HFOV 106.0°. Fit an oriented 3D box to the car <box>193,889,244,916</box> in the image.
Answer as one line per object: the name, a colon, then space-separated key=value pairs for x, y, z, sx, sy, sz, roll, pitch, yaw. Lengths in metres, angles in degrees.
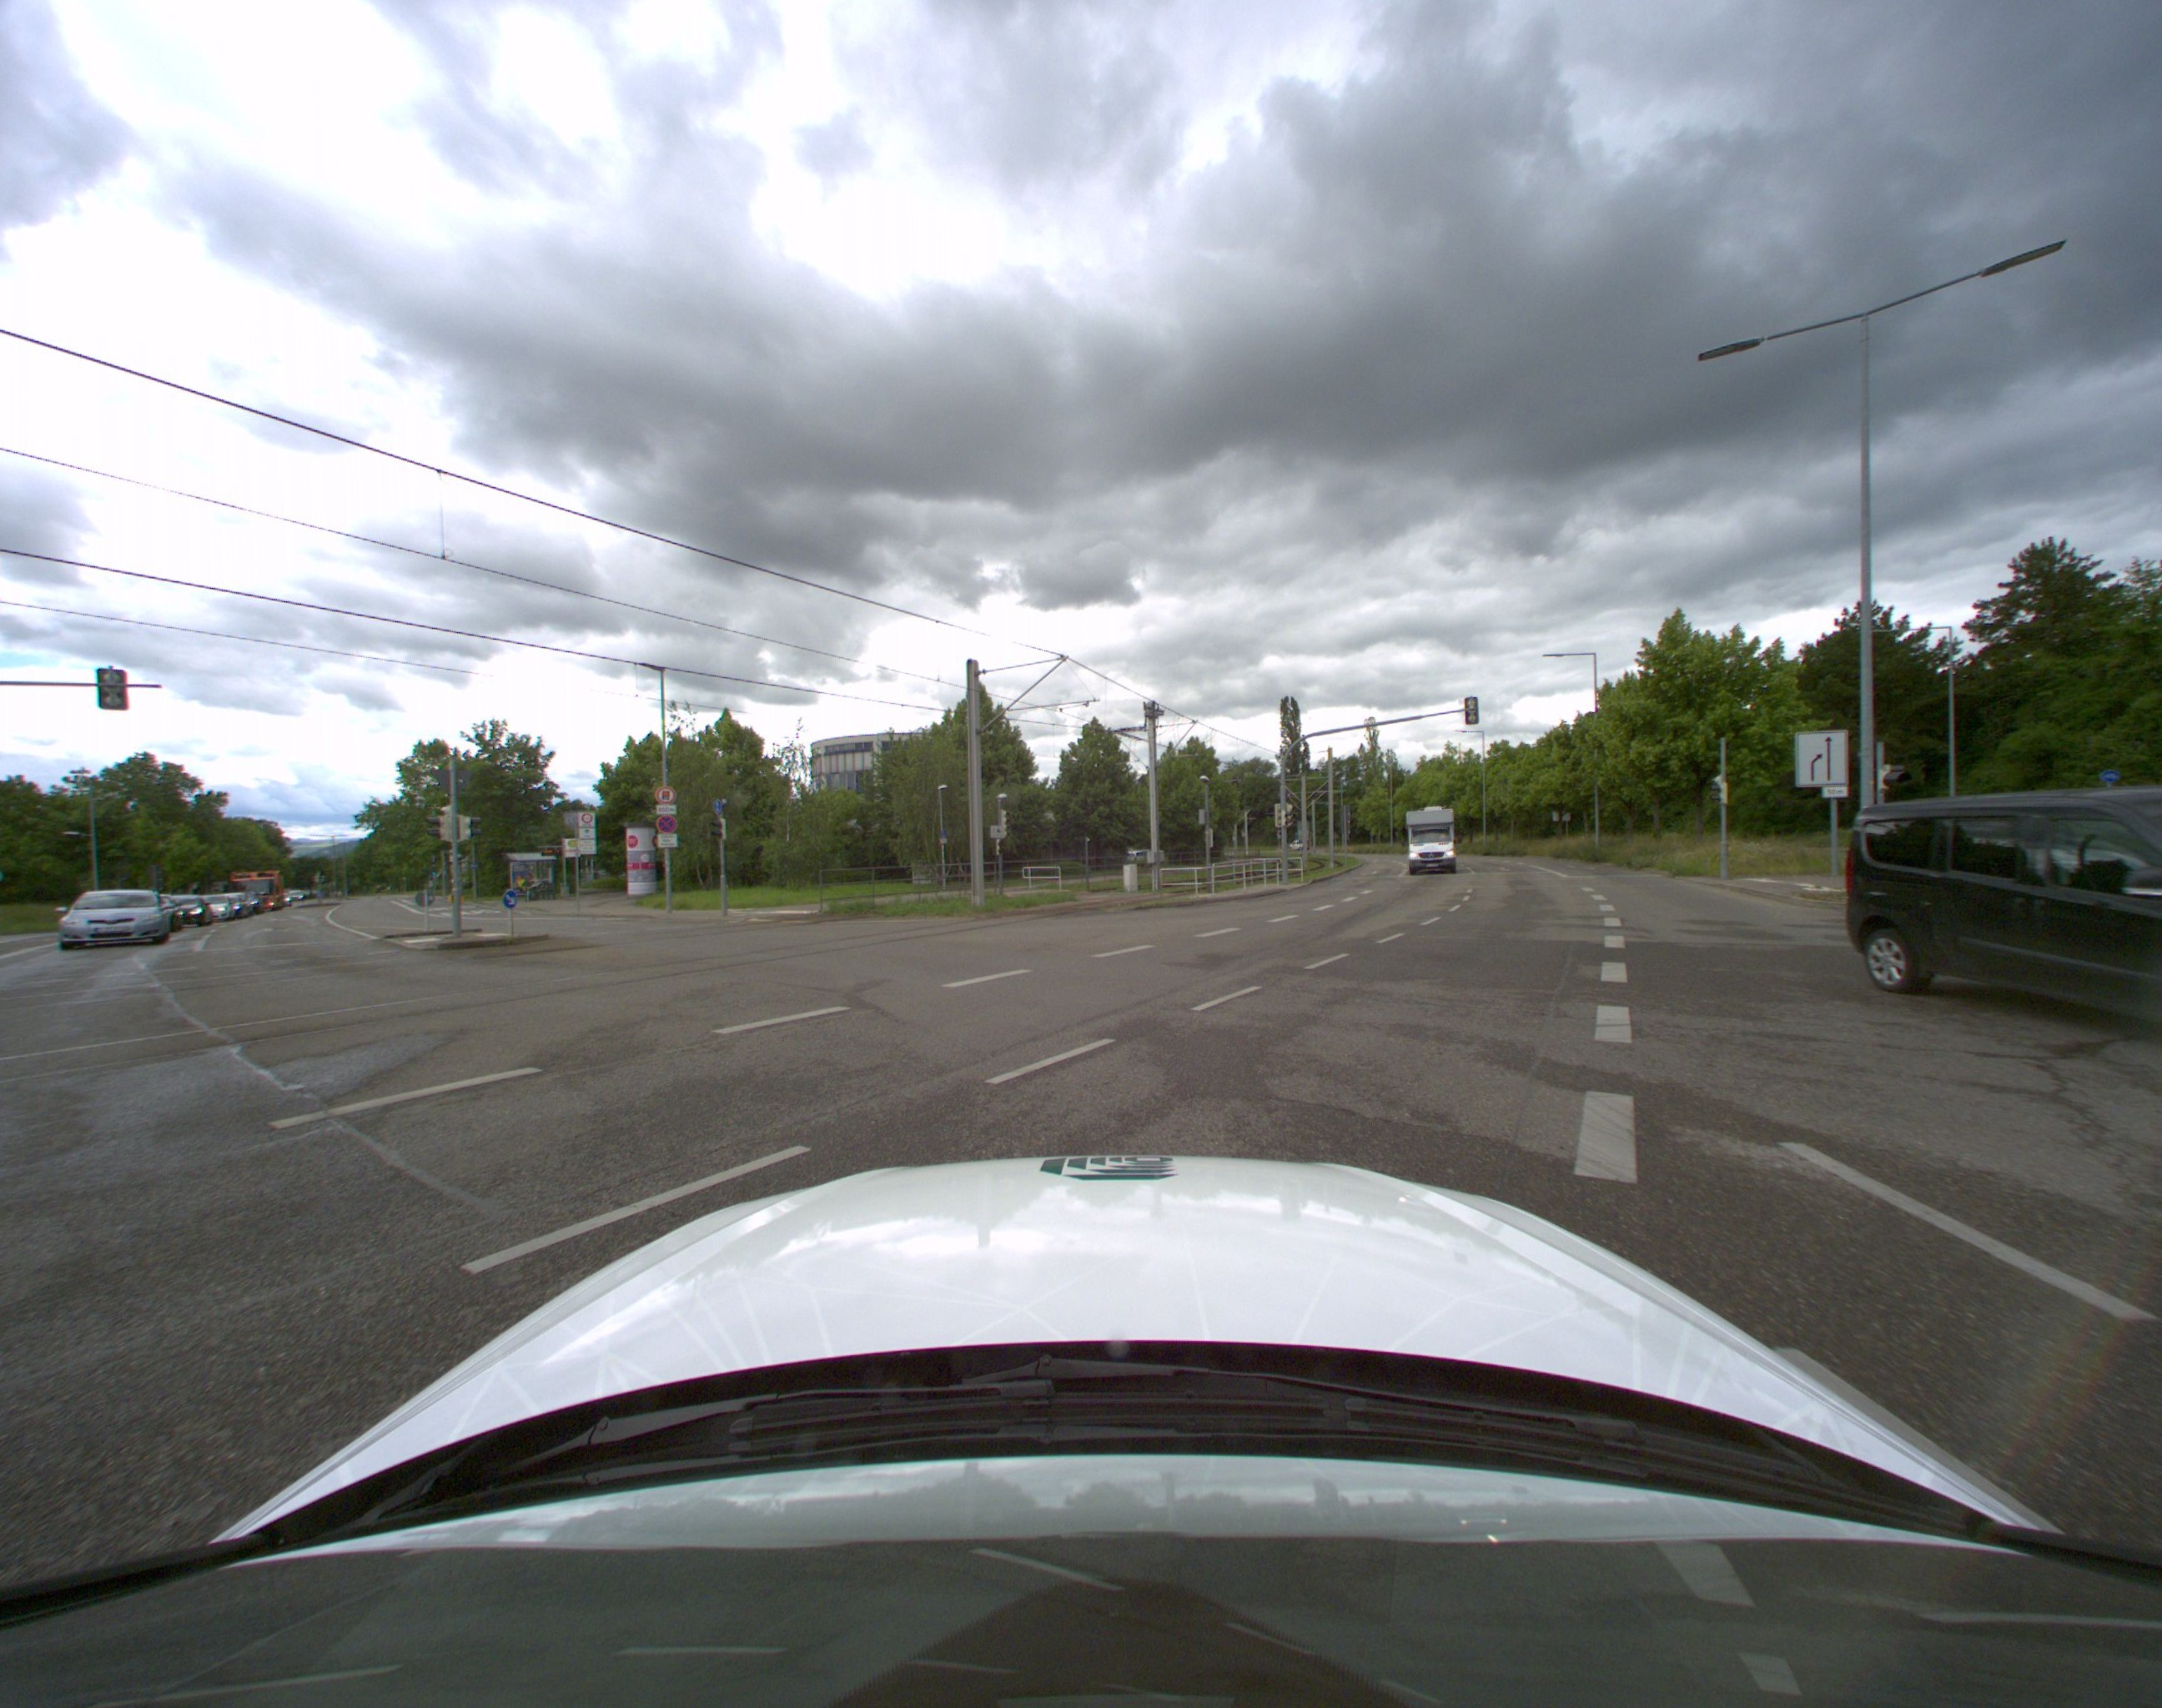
car: x=-50.268 y=2.788 z=47.536 sx=1.654 sy=1.390 sz=4.825 roll=-3 pitch=0 yaw=-43

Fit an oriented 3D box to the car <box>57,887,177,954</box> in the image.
car: x=-26.309 y=1.755 z=22.364 sx=4.166 sy=1.535 sz=1.844 roll=-3 pitch=0 yaw=43

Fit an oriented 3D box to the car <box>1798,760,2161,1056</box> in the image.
car: x=8.069 y=0.301 z=6.073 sx=1.979 sy=1.876 sz=4.909 roll=-2 pitch=0 yaw=14

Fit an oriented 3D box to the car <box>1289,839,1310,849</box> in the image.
car: x=40.287 y=-1.756 z=150.345 sx=2.001 sy=1.728 sz=3.700 roll=-2 pitch=0 yaw=-21

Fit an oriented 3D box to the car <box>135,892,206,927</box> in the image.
car: x=-39.731 y=2.376 z=35.629 sx=1.654 sy=1.332 sz=4.011 roll=-3 pitch=0 yaw=-43

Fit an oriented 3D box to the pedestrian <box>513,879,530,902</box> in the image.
pedestrian: x=-32.595 y=2.133 z=47.459 sx=0.734 sy=1.316 sz=0.582 roll=-2 pitch=0 yaw=-41

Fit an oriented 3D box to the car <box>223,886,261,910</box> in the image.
car: x=-60.072 y=3.135 z=58.345 sx=1.654 sy=1.585 sz=4.011 roll=-3 pitch=0 yaw=-43

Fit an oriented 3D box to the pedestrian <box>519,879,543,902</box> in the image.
pedestrian: x=-31.507 y=2.115 z=46.666 sx=0.766 sy=1.252 sz=0.777 roll=-2 pitch=0 yaw=6

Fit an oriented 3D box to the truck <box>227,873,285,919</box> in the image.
truck: x=-69.852 y=3.505 z=69.144 sx=2.730 sy=3.487 sz=9.873 roll=-3 pitch=0 yaw=-42

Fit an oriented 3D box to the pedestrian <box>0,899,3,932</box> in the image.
pedestrian: x=-60.023 y=3.432 z=44.760 sx=0.727 sy=1.835 sz=0.669 roll=-3 pitch=0 yaw=-42

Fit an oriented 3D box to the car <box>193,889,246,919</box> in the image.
car: x=-46.088 y=2.633 z=43.619 sx=1.654 sy=1.390 sz=3.716 roll=-3 pitch=0 yaw=-43

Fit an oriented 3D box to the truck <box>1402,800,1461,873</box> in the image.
truck: x=16.502 y=-0.788 z=38.406 sx=2.086 sy=3.010 sz=6.308 roll=-6 pitch=-2 yaw=23
